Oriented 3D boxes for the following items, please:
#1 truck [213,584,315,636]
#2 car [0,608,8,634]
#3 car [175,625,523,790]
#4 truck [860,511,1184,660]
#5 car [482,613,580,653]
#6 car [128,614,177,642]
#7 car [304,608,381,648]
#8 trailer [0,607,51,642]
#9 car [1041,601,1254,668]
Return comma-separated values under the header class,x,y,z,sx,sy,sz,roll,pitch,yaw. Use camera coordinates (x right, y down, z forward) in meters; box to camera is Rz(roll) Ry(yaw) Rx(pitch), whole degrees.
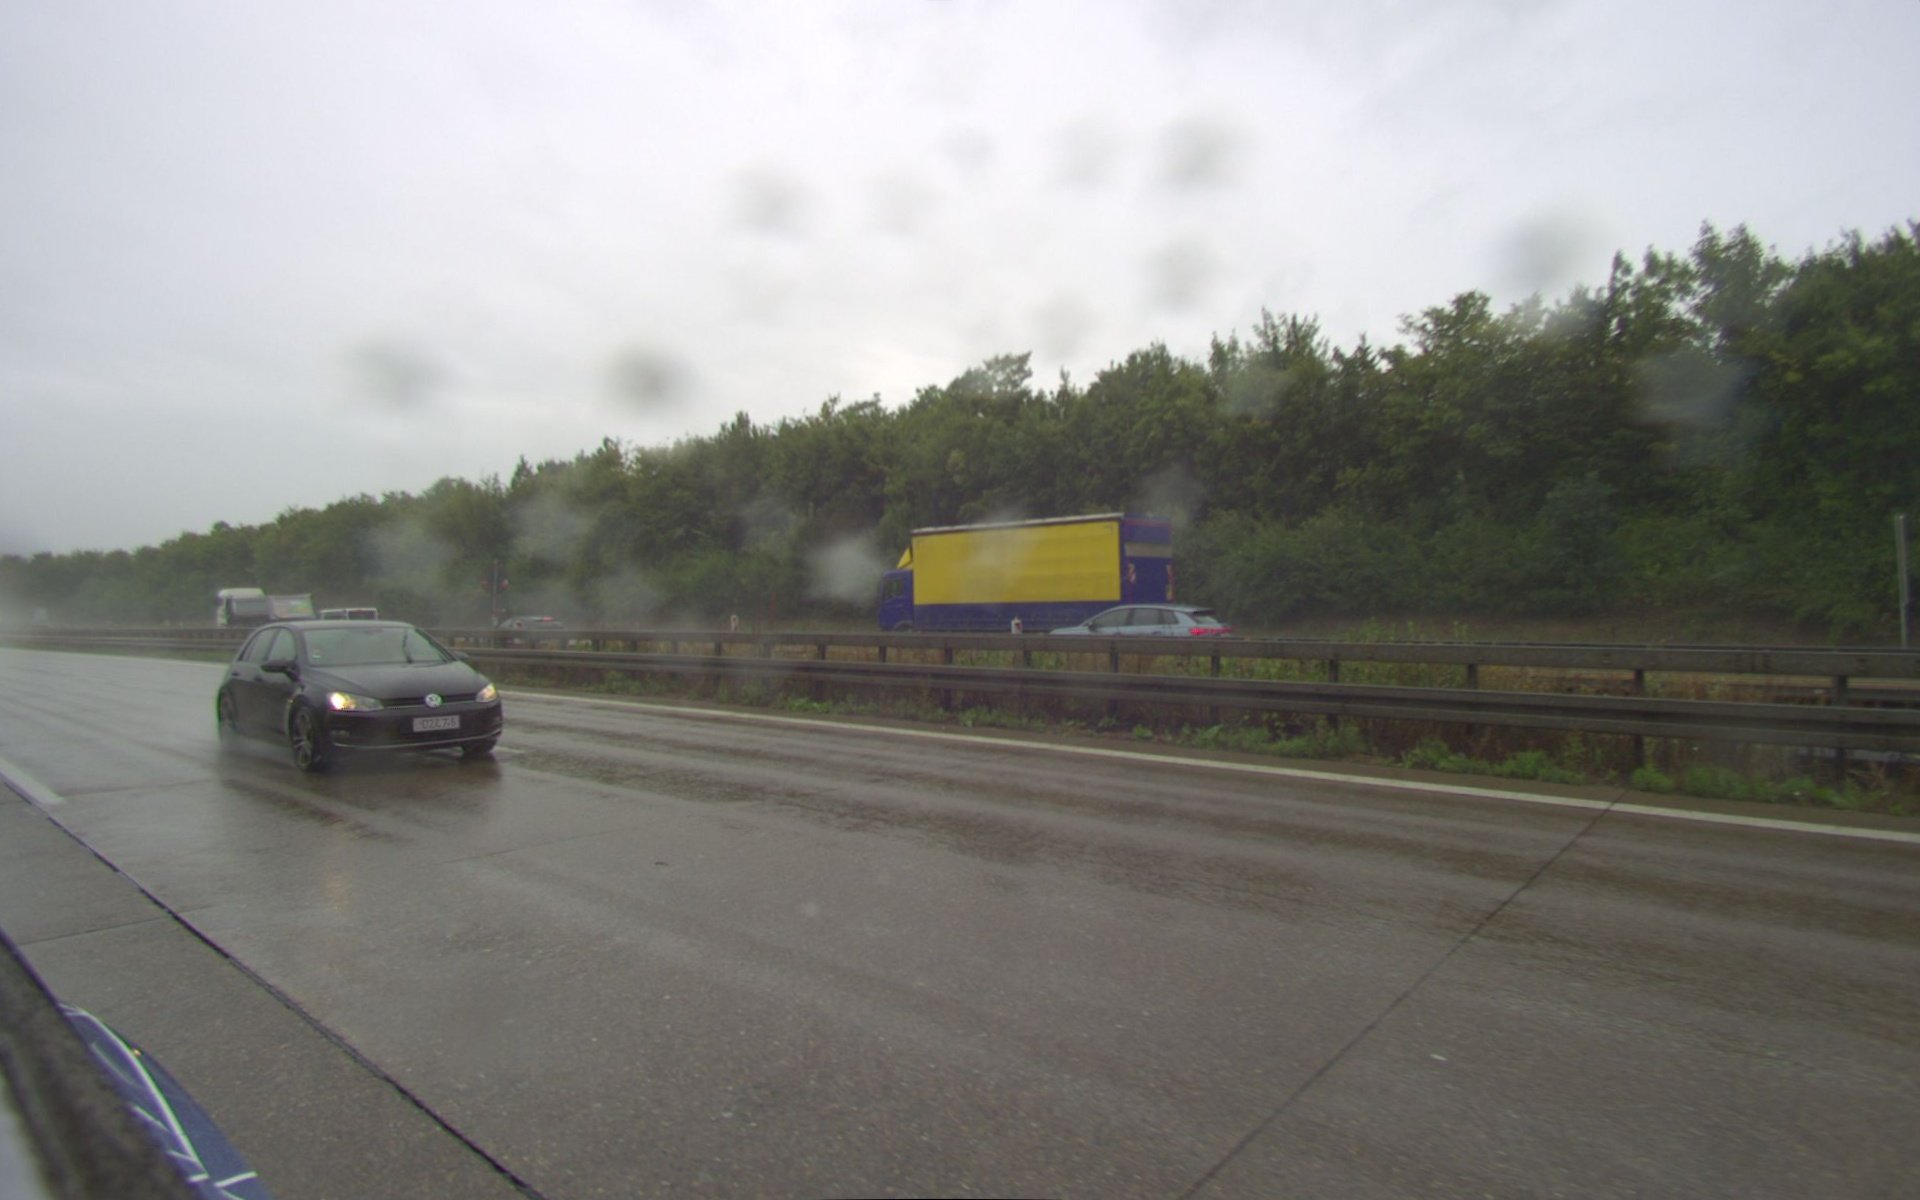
class,x,y,z,sx,sy,sz,roll,pitch,yaw
truck,-48.645,0.777,70.537,11.503,3.340,2.746,-2,-1,39
car,-107.508,2.379,112.200,6.526,2.922,2.068,-2,-1,39
car,-6.567,0.983,10.703,4.315,1.398,1.724,-1,-3,38
truck,1.460,-0.261,29.507,9.792,3.728,2.558,-2,-1,40
car,-17.715,1.331,41.686,4.470,1.495,1.896,-1,0,40
car,-61.744,2.120,77.336,5.194,2.029,1.957,-1,0,40
car,-33.380,1.493,54.647,5.194,2.029,1.957,-1,0,40
trailer,-110.948,2.899,119.767,12.856,3.886,3.105,-2,-1,39
car,4.126,0.758,22.680,4.423,1.349,1.734,-2,-1,41
